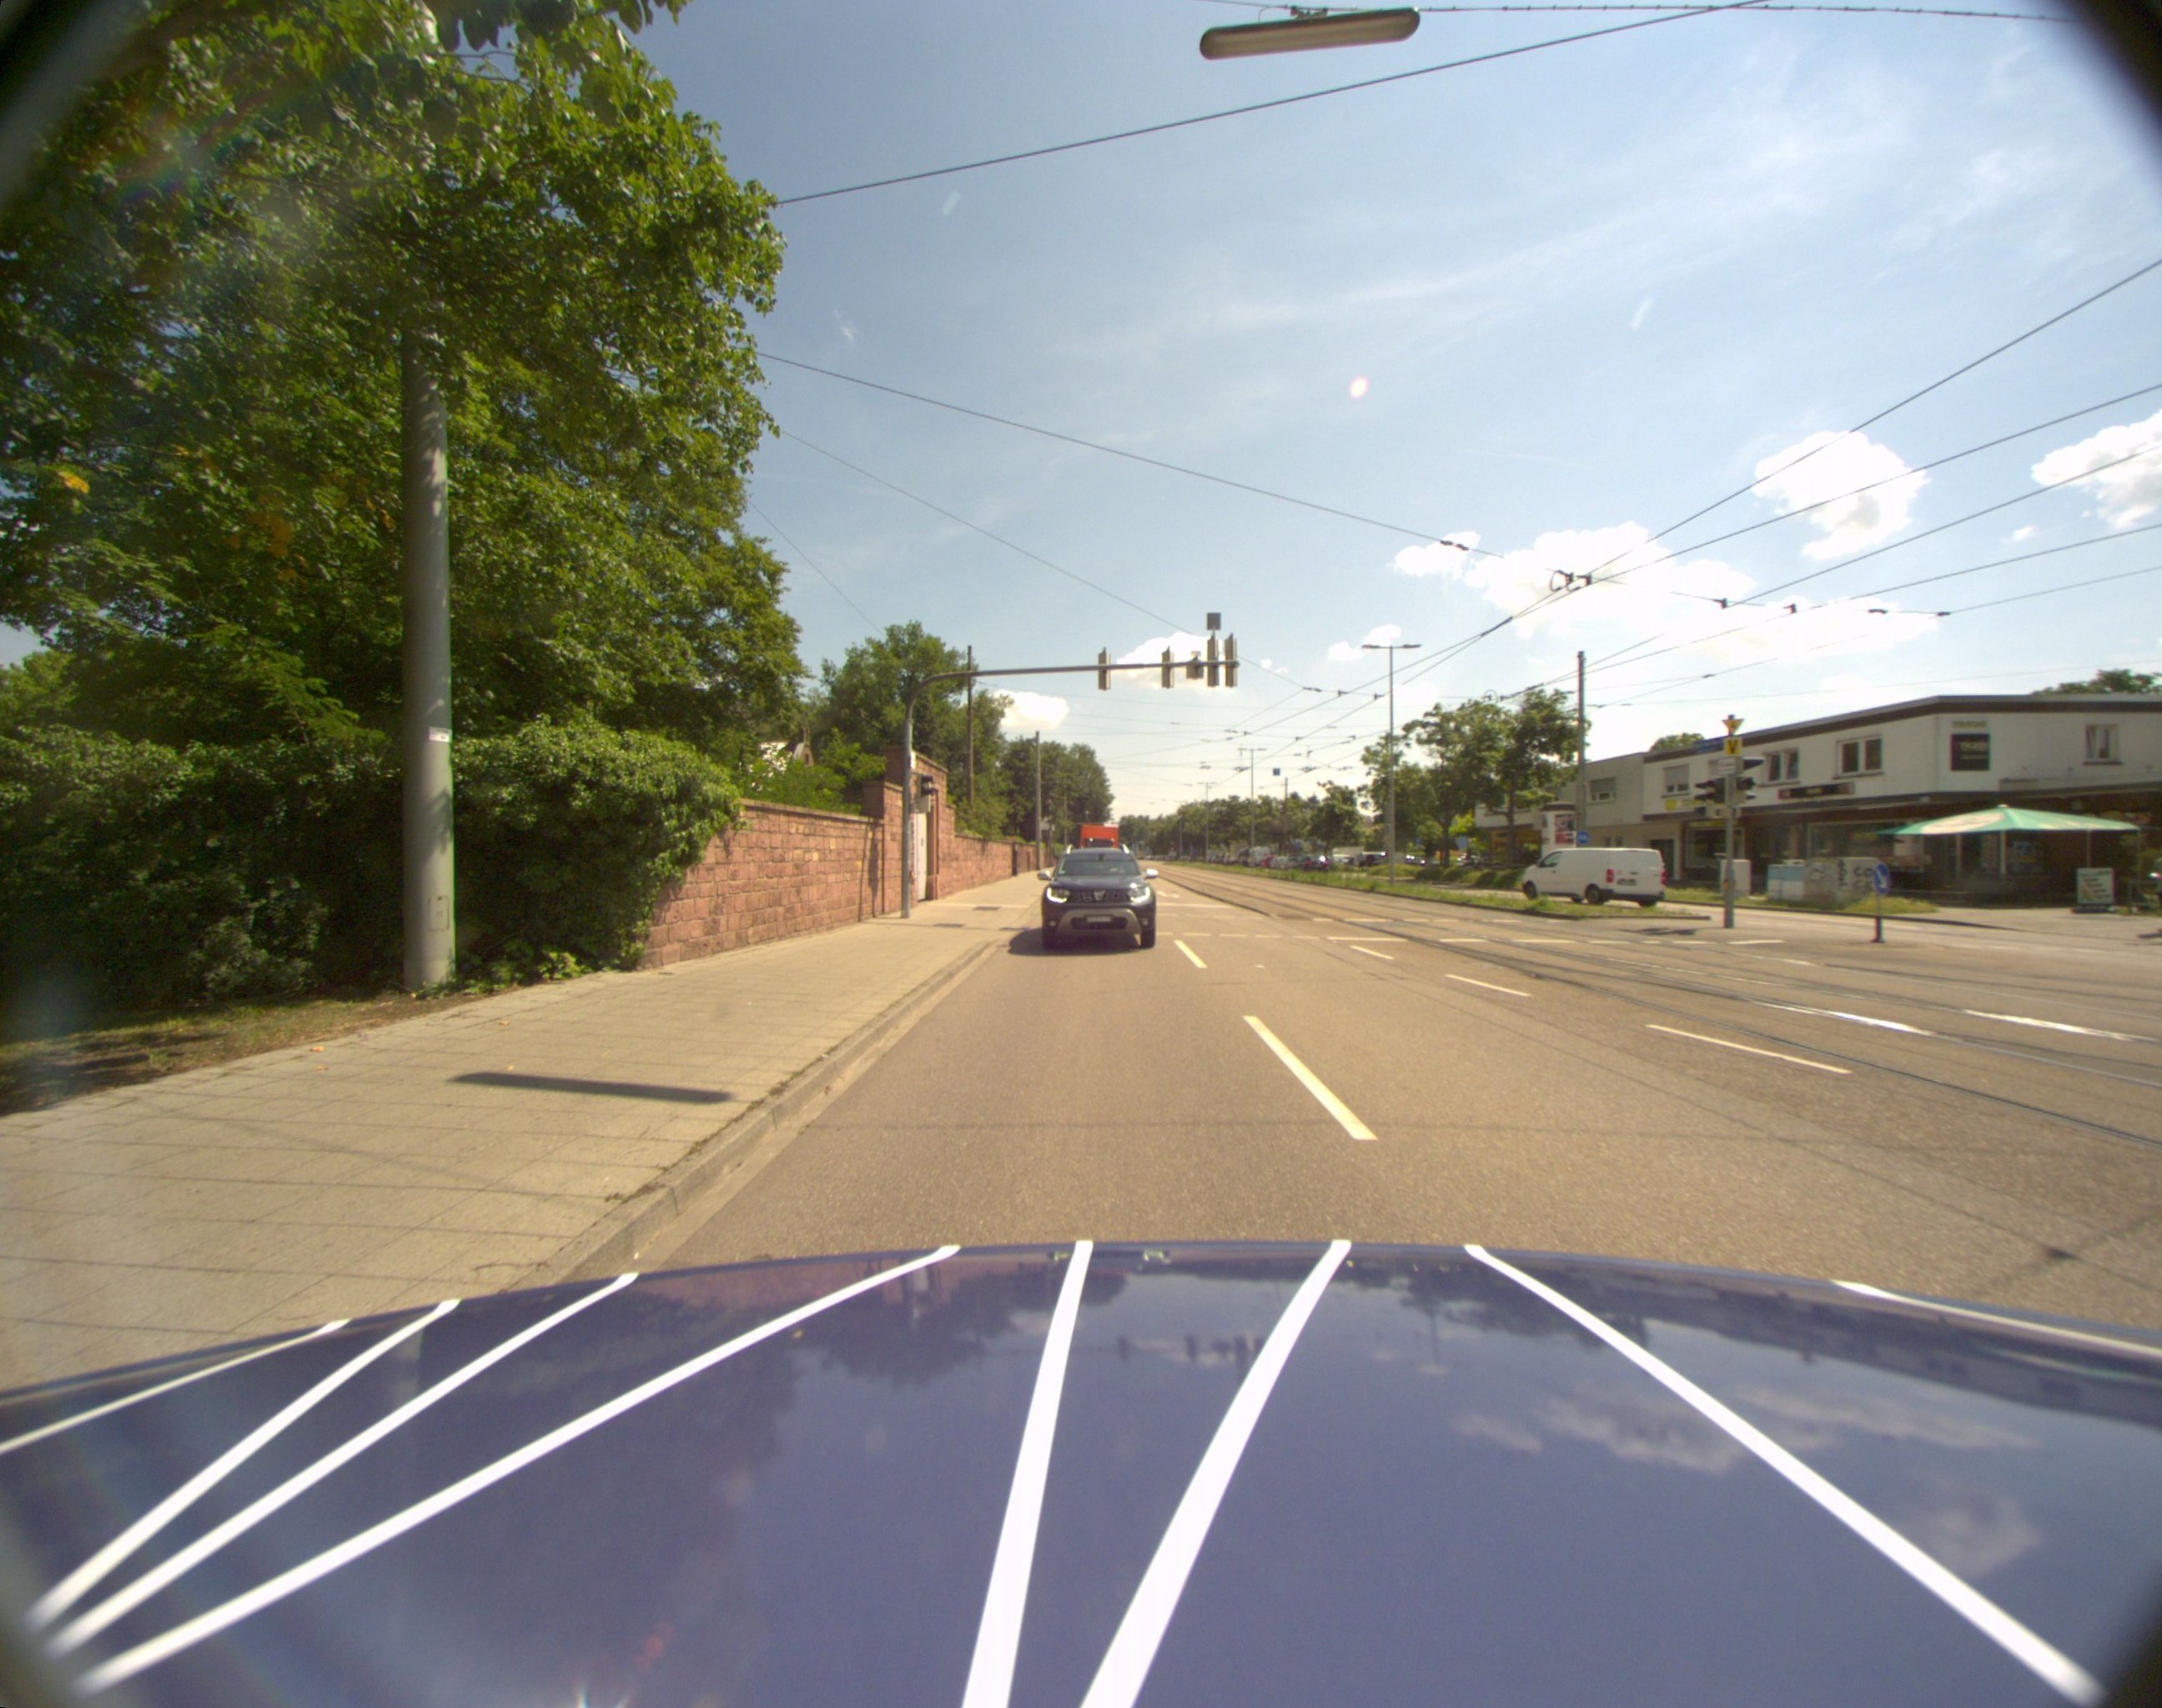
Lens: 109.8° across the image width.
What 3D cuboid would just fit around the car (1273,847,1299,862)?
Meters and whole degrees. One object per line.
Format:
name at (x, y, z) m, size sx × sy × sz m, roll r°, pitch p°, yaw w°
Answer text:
car at (22.409, 0.036, 83.254) m, size 1.744 × 1.586 × 4.000 m, roll 0°, pitch 0°, yaw 1°

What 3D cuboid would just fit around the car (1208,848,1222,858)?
car at (23.338, -0.160, 132.066) m, size 1.744 × 1.683 × 4.000 m, roll 0°, pitch 0°, yaw 1°

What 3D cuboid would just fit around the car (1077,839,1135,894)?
car at (0.914, 0.439, 29.974) m, size 1.999 × 2.002 × 3.999 m, roll 0°, pitch 1°, yaw -2°

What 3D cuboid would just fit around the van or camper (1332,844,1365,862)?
van or camper at (48.280, -0.157, 137.138) m, size 5.157 × 3.099 × 2.247 m, roll 0°, pitch 1°, yaw 1°

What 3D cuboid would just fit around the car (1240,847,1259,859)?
car at (22.745, -0.149, 102.477) m, size 1.744 × 1.683 × 4.000 m, roll 0°, pitch 0°, yaw 1°

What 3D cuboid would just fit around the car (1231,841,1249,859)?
car at (23.058, -0.578, 110.337) m, size 1.744 × 2.573 × 4.000 m, roll 0°, pitch 0°, yaw 1°

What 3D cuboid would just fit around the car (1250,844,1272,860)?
car at (22.610, -0.249, 95.561) m, size 1.966 × 1.953 × 4.000 m, roll 0°, pitch 0°, yaw 1°

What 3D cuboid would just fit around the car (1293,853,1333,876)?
car at (16.881, 0.730, 55.561) m, size 1.744 × 1.586 × 4.000 m, roll 0°, pitch 0°, yaw 1°

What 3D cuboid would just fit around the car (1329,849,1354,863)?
car at (32.142, 0.235, 93.953) m, size 1.744 × 1.683 × 4.000 m, roll 0°, pitch 0°, yaw 1°

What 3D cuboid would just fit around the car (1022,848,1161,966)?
car at (0.374, 0.758, 12.641) m, size 1.845 × 1.564 × 4.490 m, roll -2°, pitch -1°, yaw 6°

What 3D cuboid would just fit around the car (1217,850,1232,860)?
car at (23.719, 0.108, 125.799) m, size 1.744 × 1.683 × 4.000 m, roll 0°, pitch 0°, yaw 1°

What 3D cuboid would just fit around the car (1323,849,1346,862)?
car at (33.041, 0.142, 99.176) m, size 1.744 × 1.683 × 4.000 m, roll 0°, pitch 0°, yaw 1°

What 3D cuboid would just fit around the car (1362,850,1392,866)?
car at (31.607, 0.397, 81.258) m, size 1.744 × 1.683 × 4.000 m, roll 0°, pitch 0°, yaw 1°

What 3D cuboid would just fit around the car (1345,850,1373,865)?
car at (31.411, 0.353, 85.898) m, size 1.744 × 1.683 × 4.000 m, roll 0°, pitch 0°, yaw 1°

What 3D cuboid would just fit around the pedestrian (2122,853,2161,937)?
pedestrian at (23.300, 0.877, 16.498) m, size 0.488 × 1.765 × 0.682 m, roll -5°, pitch 2°, yaw -17°

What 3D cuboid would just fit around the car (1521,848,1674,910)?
car at (16.871, 0.755, 25.167) m, size 1.863 × 1.865 × 4.554 m, roll 0°, pitch 0°, yaw -2°

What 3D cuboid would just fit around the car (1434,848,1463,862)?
car at (46.146, 0.150, 95.502) m, size 1.744 × 1.683 × 4.000 m, roll 0°, pitch 0°, yaw 1°

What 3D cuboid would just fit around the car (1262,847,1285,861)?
car at (22.521, 0.015, 88.985) m, size 1.744 × 1.586 × 4.000 m, roll 0°, pitch 0°, yaw 1°
